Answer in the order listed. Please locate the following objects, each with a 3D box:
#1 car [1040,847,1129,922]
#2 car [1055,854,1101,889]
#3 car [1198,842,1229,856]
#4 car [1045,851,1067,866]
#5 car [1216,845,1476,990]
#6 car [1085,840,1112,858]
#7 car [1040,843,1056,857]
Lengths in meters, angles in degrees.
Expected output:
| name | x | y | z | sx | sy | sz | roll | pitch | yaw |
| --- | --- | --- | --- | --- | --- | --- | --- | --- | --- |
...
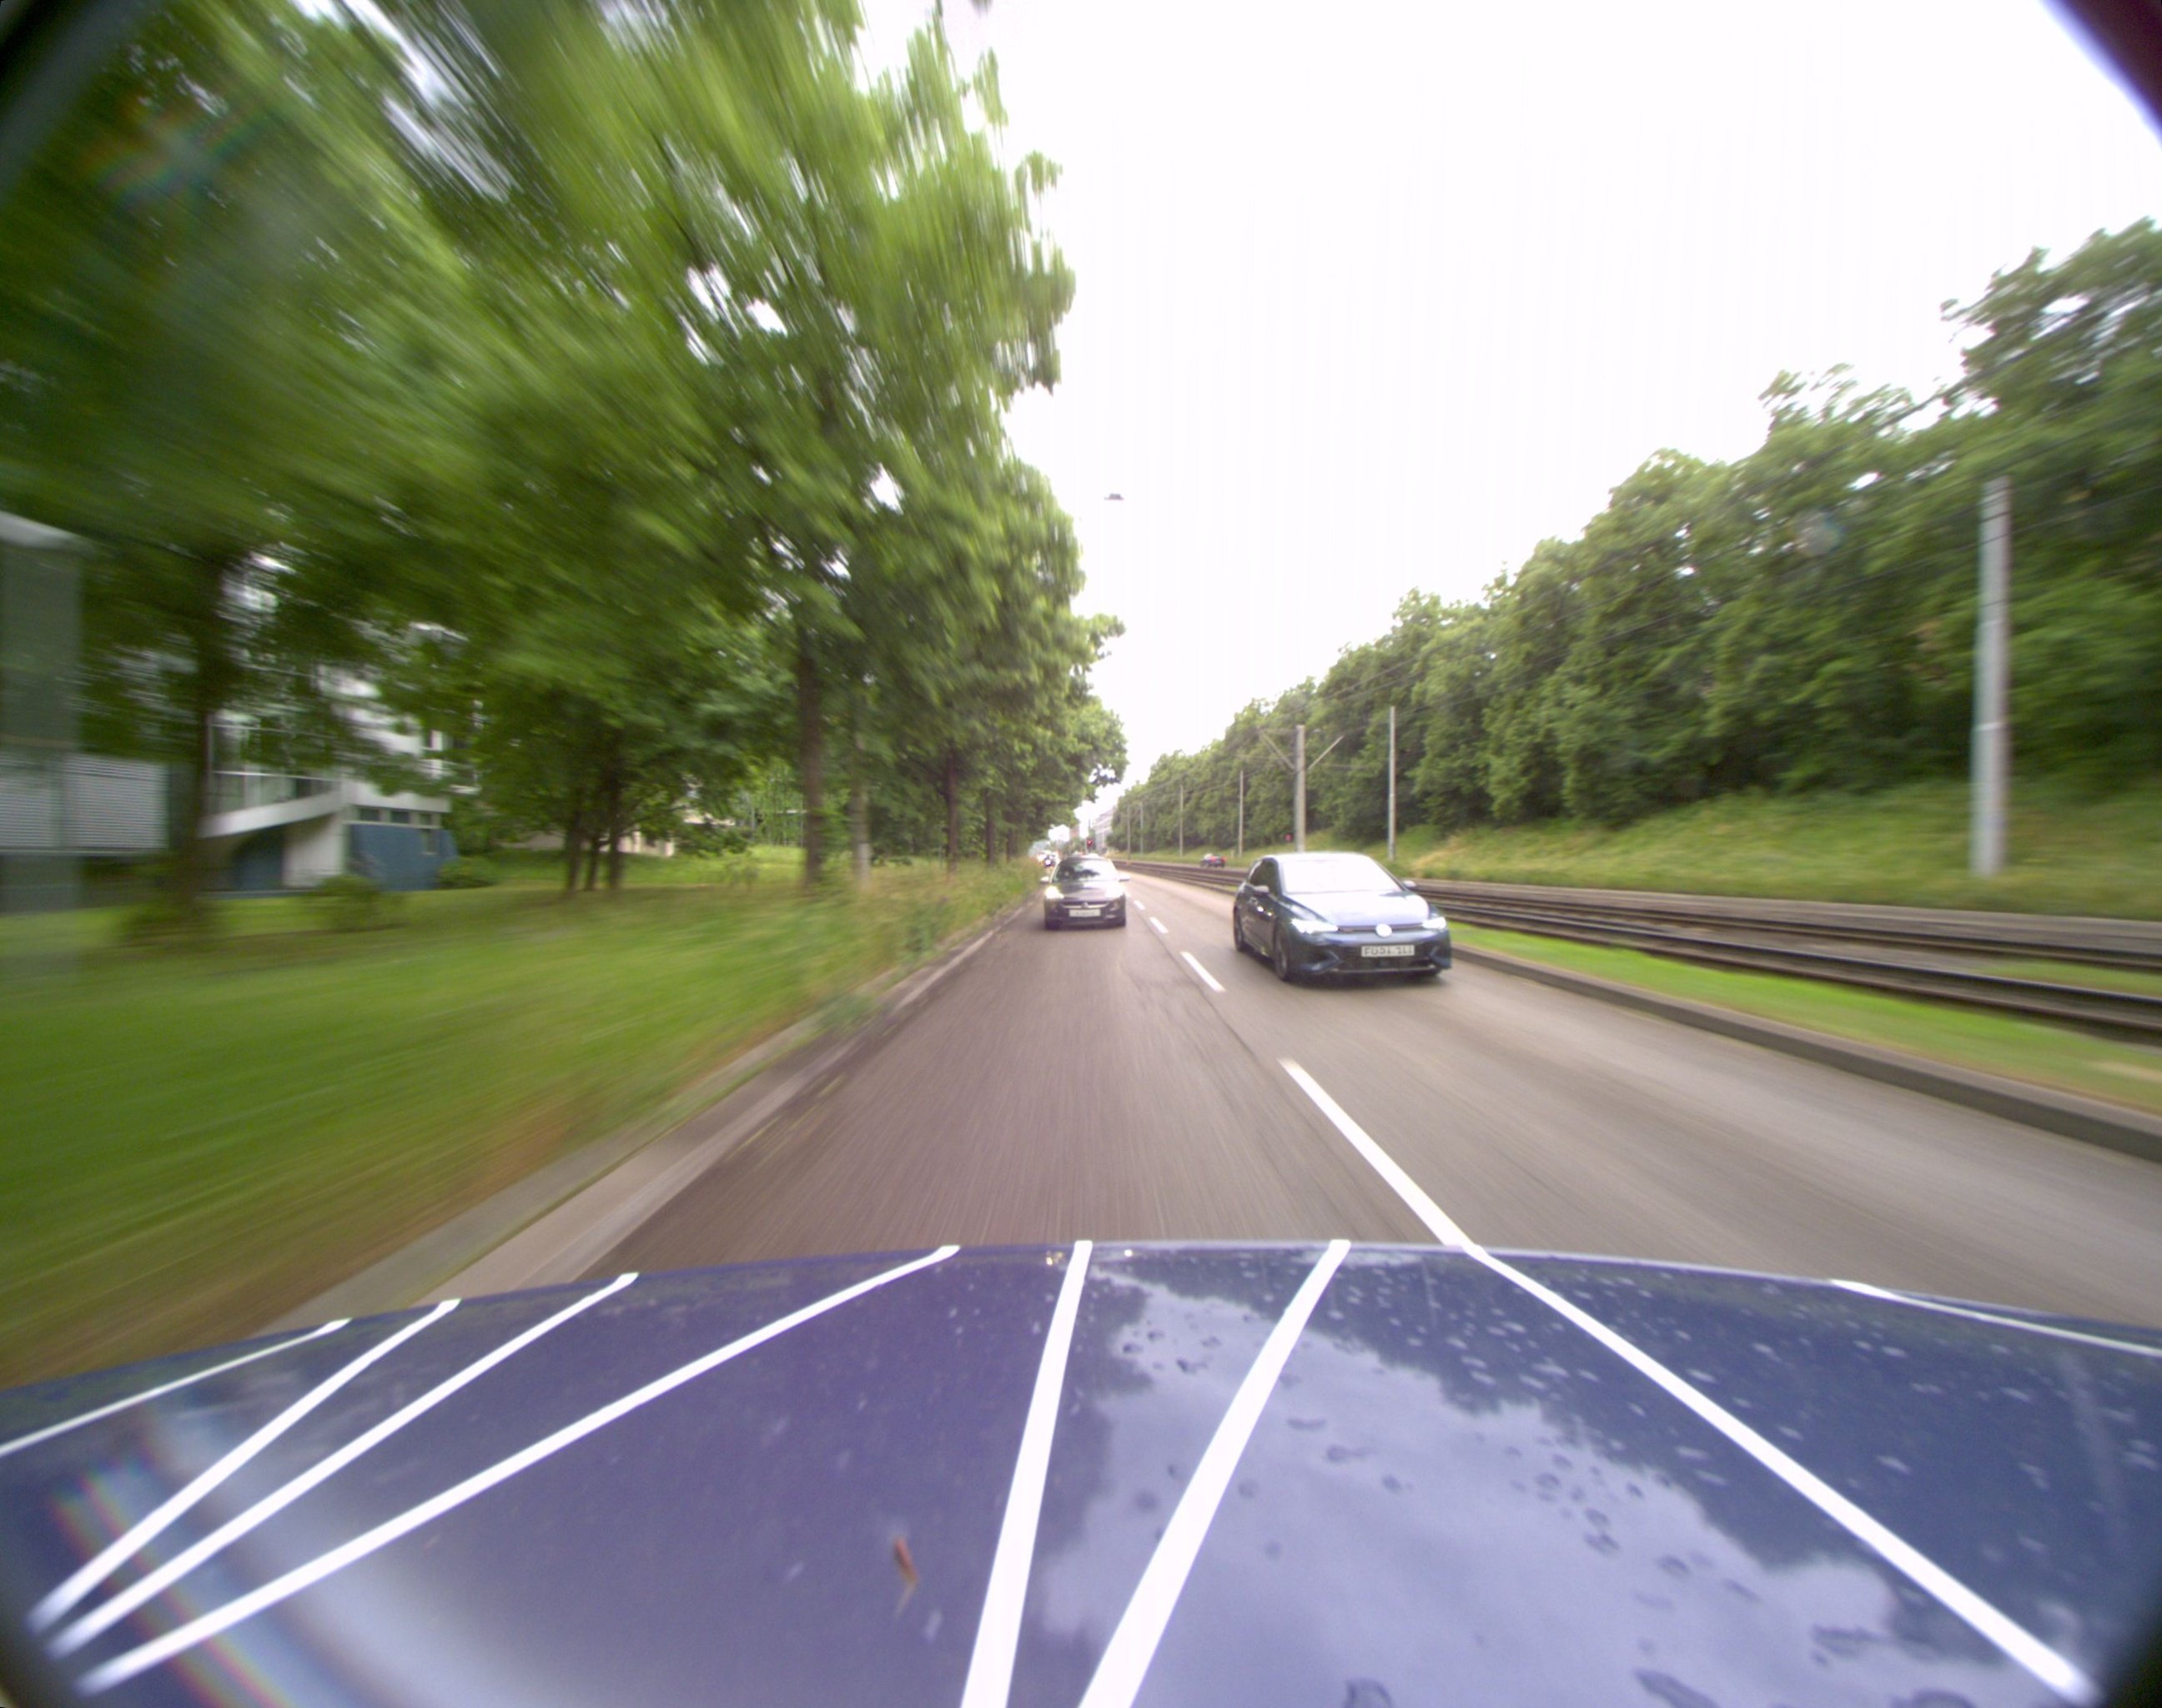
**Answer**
| name | x | y | z | sx | sy | sz | roll | pitch | yaw |
| --- | --- | --- | --- | --- | --- | --- | --- | --- | --- |
| car | 0.076 | 0.589 | 17.127 | 1.711 | 1.425 | 4.428 | -2 | 0 | 0 |
| car | -0.069 | 0.769 | 36.190 | 1.960 | 1.457 | 4.699 | -1 | 1 | 2 |
| car | 13.996 | -0.544 | 80.261 | 2.000 | 1.423 | 4.427 | -1 | 0 | -7 |
| car | -2.746 | 0.512 | 82.946 | 1.961 | 1.469 | 4.697 | -3 | 0 | -6 |
| car | 3.046 | 0.611 | 9.786 | 1.812 | 1.370 | 4.346 | -3 | 1 | 0 |
| car | 1.584 | -0.434 | 69.907 | 1.961 | 1.472 | 4.697 | -3 | 0 | -5 |
| car | -5.083 | -0.589 | 116.345 | 1.961 | 1.914 | 4.842 | -3 | 0 | -6 |
